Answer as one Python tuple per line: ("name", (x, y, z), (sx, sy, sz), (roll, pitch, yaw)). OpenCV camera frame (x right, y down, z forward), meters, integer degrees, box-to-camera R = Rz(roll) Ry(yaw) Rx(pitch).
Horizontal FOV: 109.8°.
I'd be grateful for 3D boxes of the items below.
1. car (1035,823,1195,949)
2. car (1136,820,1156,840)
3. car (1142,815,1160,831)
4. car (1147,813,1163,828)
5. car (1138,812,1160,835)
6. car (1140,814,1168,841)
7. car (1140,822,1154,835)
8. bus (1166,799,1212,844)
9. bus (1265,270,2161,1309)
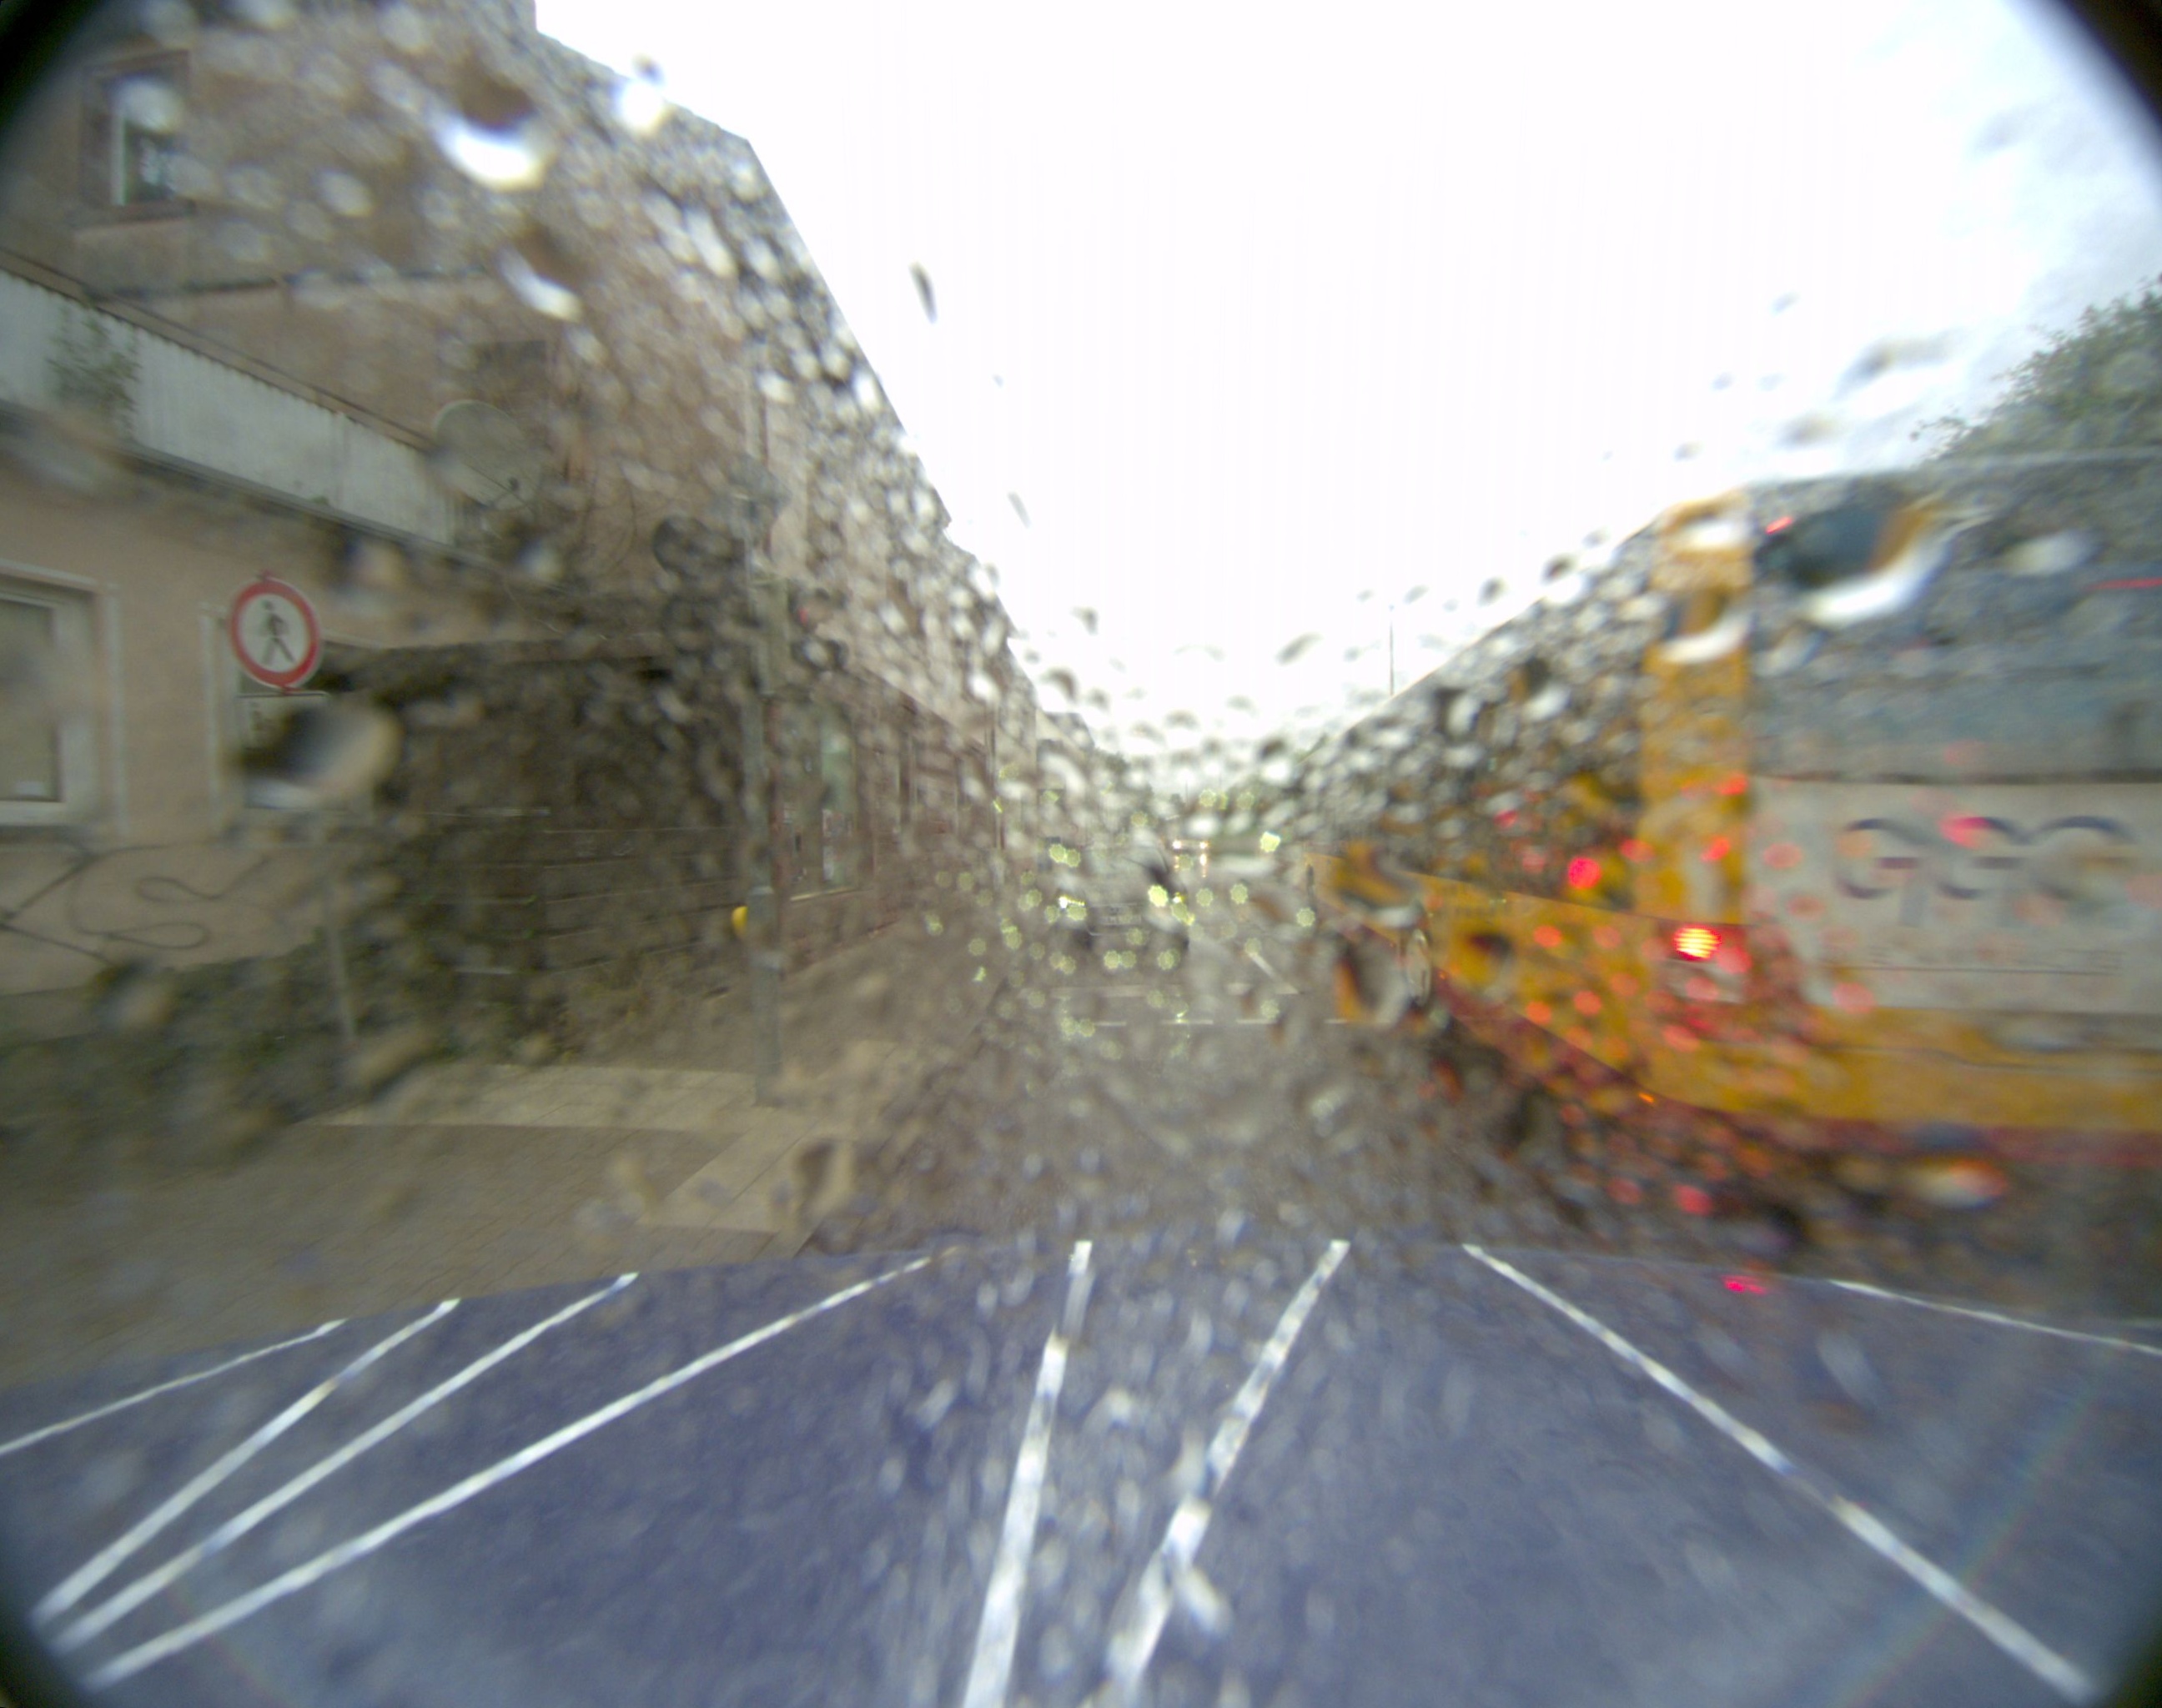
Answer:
("car", (0.544, 0.289, 10.731), (1.779, 1.349, 4.187), (-2, 3, 4))
("car", (6.205, -2.338, 72.333), (1.779, 1.788, 4.187), (-2, 3, 4))
("car", (7.267, -3.259, 79.140), (1.779, 1.602, 4.187), (-2, 3, 4))
("car", (8.750, -3.956, 90.096), (1.779, 1.602, 4.187), (-2, 3, 4))
("car", (5.811, -2.619, 64.954), (1.779, 1.788, 4.187), (-2, 3, 4))
("car", (5.056, -1.871, 53.123), (1.779, 1.788, 4.187), (-2, 3, 4))
("car", (8.618, -3.315, 99.494), (1.779, 1.602, 4.187), (-2, 3, 4))
("bus", (9.147, -2.779, 65.780), (3.439, 3.393, 13.871), (-1, 2, 6))
("bus", (4.062, -0.363, 8.026), (2.812, 2.923, 11.944), (-2, 2, 8))
